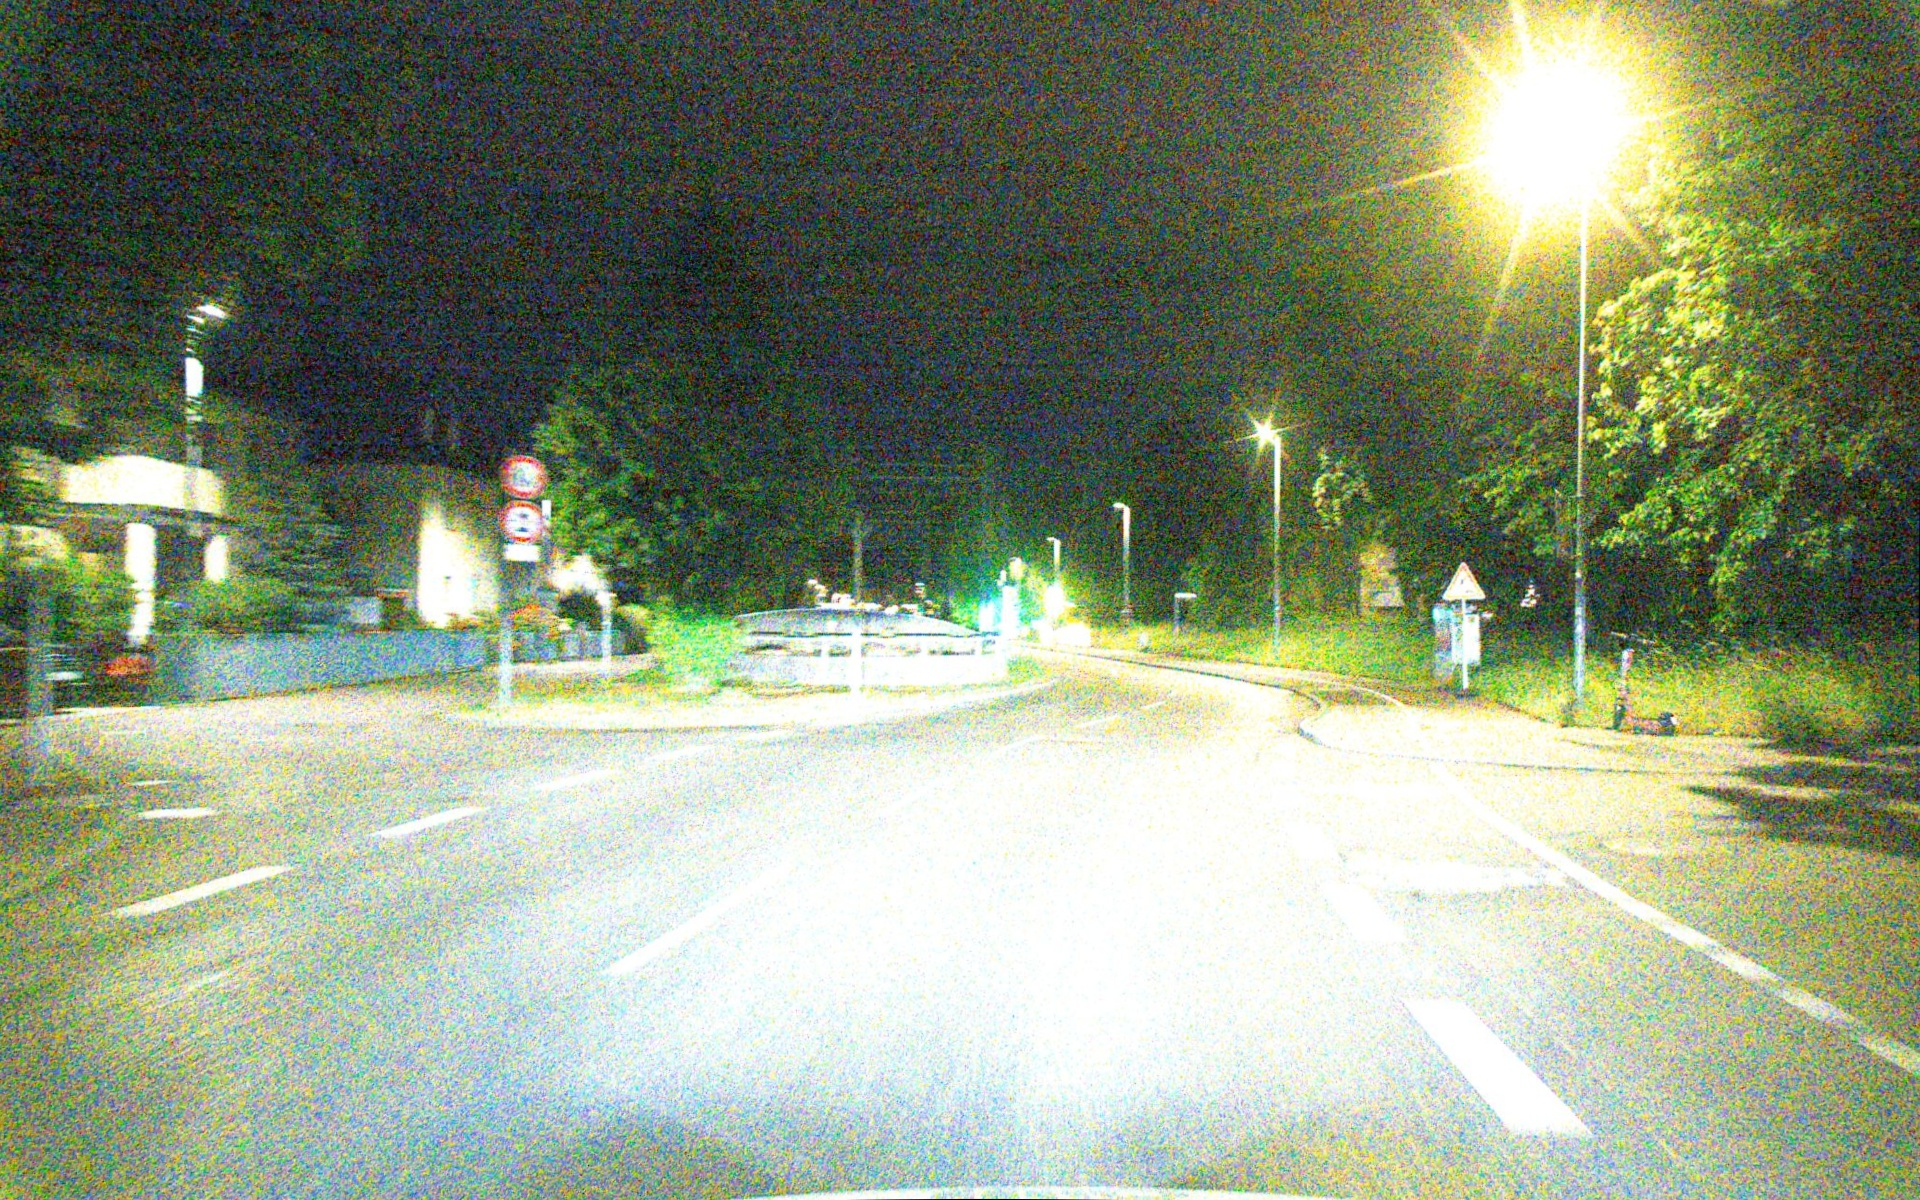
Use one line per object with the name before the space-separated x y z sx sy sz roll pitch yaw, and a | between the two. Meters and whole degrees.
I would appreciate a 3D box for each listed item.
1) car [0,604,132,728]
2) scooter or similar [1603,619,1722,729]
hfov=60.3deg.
car | -13.884 0.904 23.313 3.633 1.655 1.784 0 -1 13
scooter or similar | 8.798 0.900 20.785 0.600 1.303 1.687 1 0 -8
